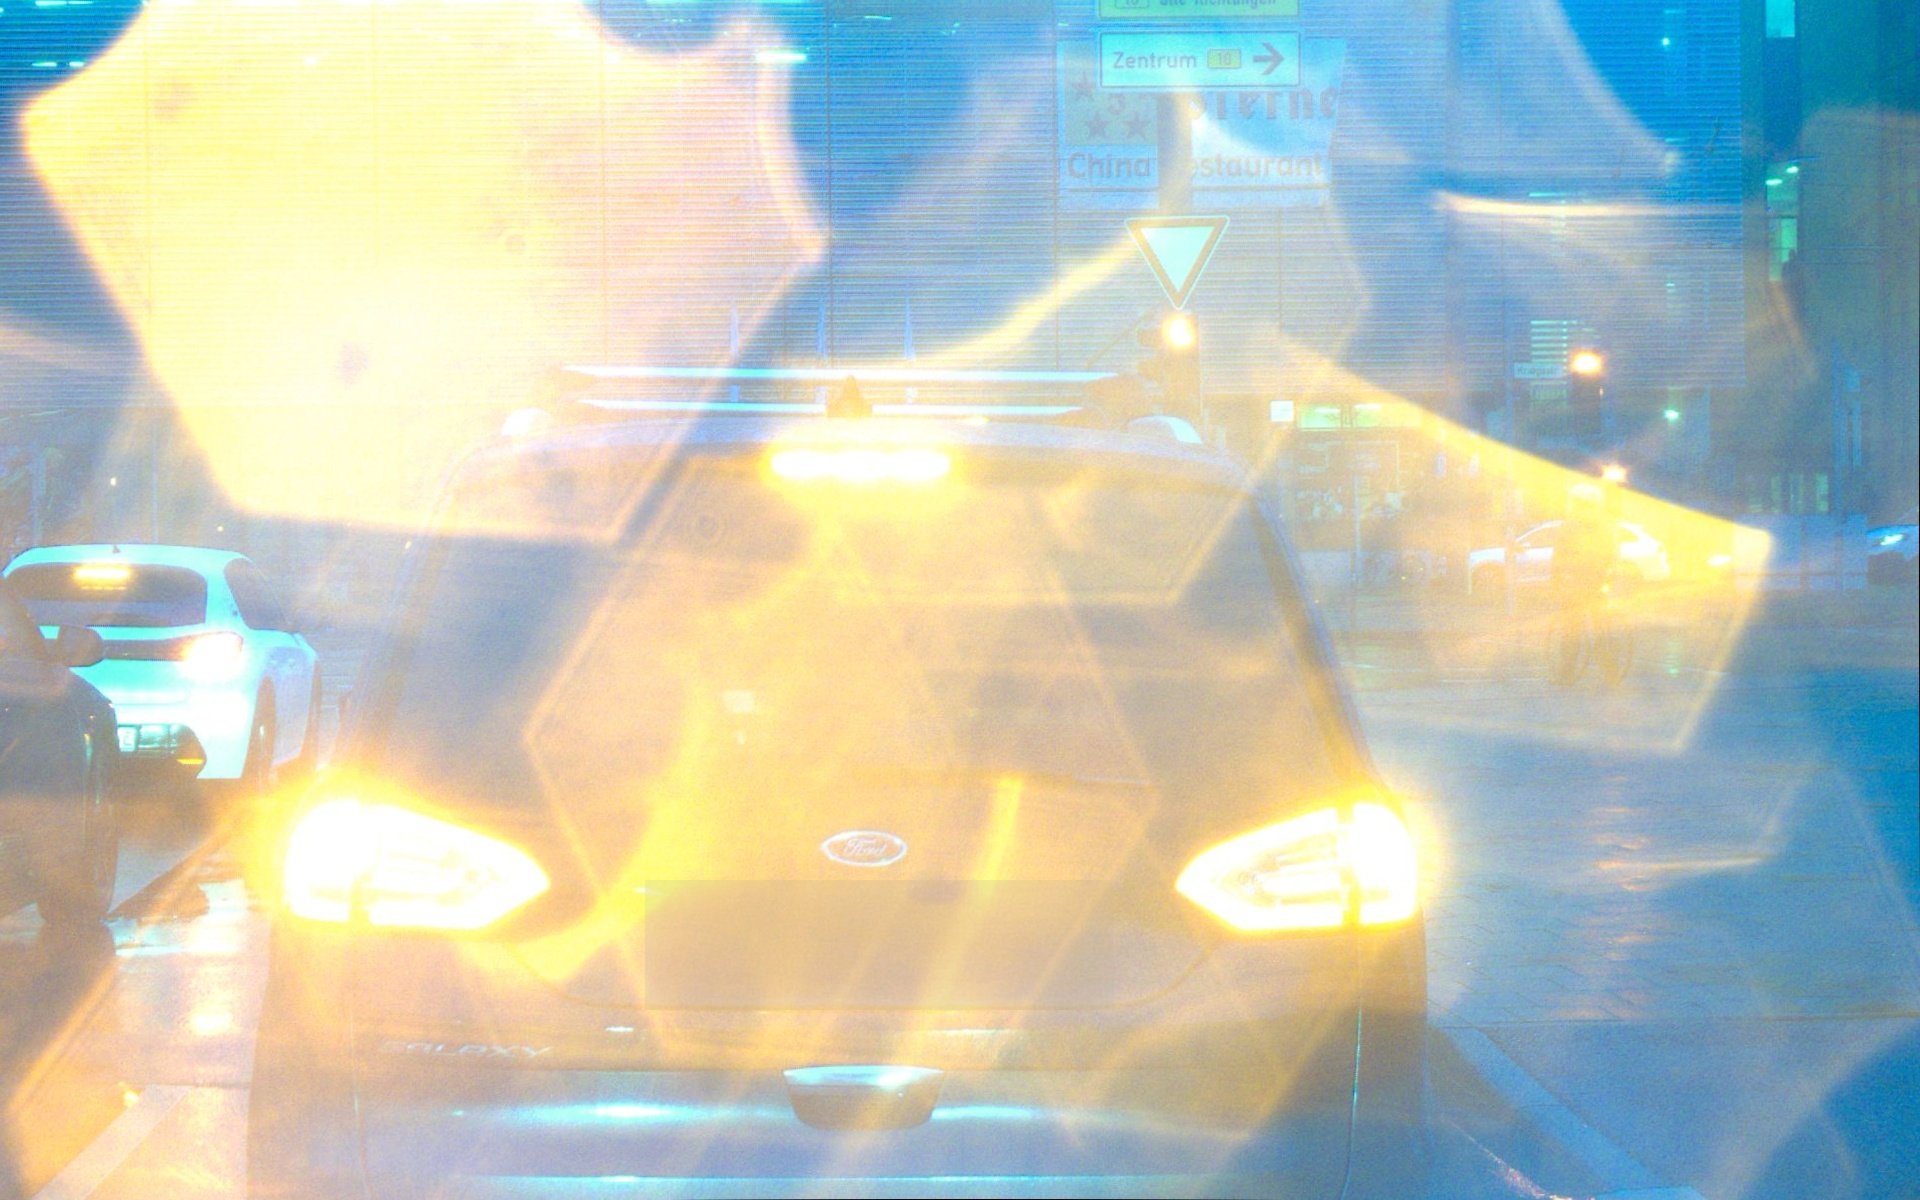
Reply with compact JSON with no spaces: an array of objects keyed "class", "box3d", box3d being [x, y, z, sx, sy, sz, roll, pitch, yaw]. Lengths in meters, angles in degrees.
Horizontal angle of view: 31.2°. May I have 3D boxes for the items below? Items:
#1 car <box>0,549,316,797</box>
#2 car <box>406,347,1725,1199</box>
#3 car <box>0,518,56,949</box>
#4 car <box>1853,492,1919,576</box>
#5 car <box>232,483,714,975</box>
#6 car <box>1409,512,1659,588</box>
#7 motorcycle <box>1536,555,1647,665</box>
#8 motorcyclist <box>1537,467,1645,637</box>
[{"class":"car","box3d":[-4.532,0.339,19.525,1.540,1.247,4.069,0,1,-8]},{"class":"car","box3d":[0.034,0.509,6.727,1.735,1.732,4.247,2,1,-3]},{"class":"car","box3d":[-4.298,0.508,11.515,1.752,1.568,4.001,-1,1,-4]},{"class":"car","box3d":[19.865,-1.307,67.003,4.418,1.589,1.800,-1,1,-7]},{"class":"car","box3d":[-1.833,0.422,13.697,1.636,1.691,3.671,1,1,-5]},{"class":"car","box3d":[11.057,-0.971,66.383,4.418,1.385,1.800,-1,1,-7]},{"class":"motorcycle","box3d":[5.804,0.079,31.663,0.853,0.968,1.581,0,1,5]},{"class":"motorcyclist","box3d":[5.805,-0.445,31.668,0.868,1.529,1.108,0,1,5]}]
